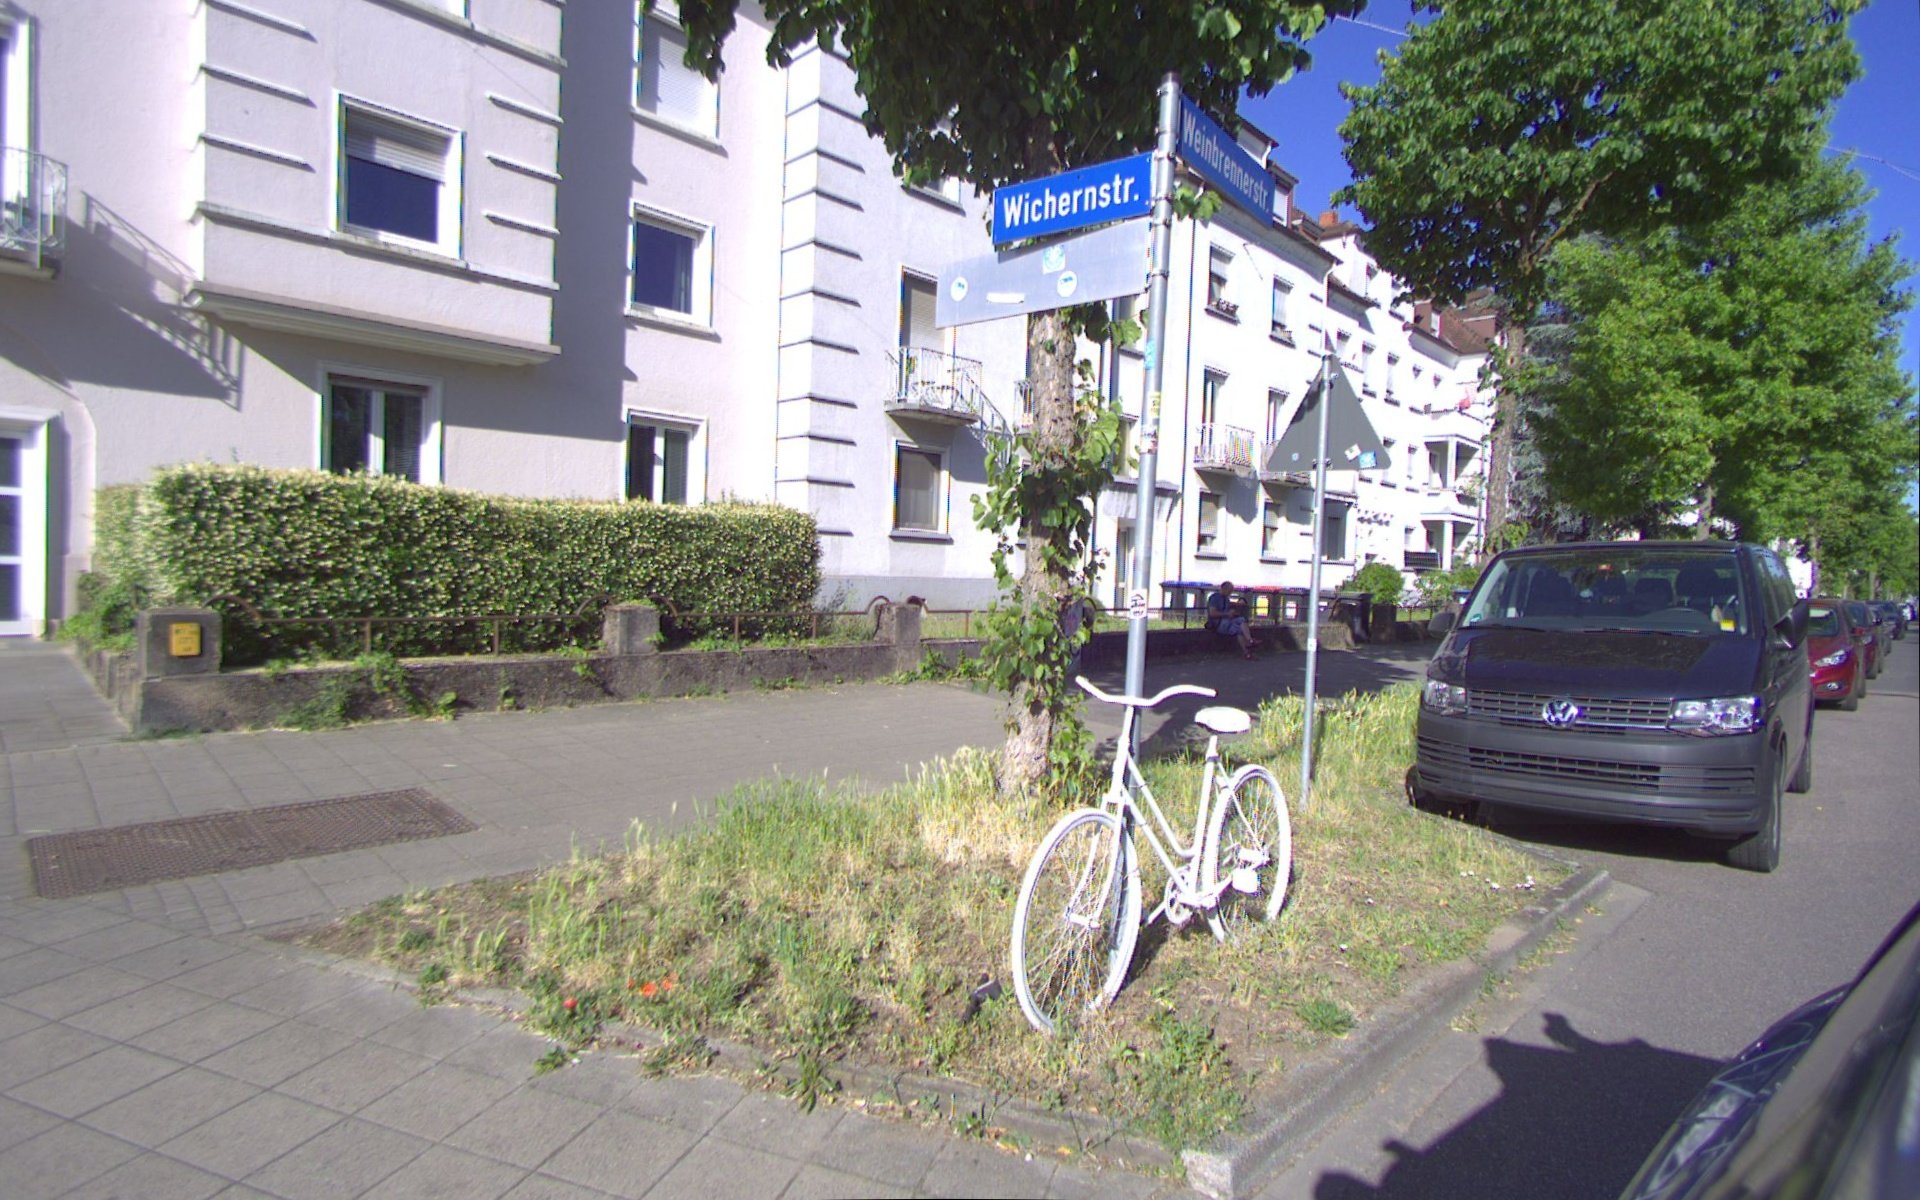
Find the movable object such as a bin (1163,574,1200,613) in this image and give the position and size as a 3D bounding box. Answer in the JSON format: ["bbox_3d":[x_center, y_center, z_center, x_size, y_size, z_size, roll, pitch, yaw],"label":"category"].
[{"bbox_3d":[5.386,-0.159,24.622,0.585,0.933,0.671,-1,1,-40],"label":"movable object such as a bin"}]

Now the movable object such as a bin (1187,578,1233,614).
[{"bbox_3d":[5.919,-0.098,23.985,0.730,0.832,0.777,-1,1,-41],"label":"movable object such as a bin"}]

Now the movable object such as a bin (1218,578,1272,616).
[{"bbox_3d":[6.606,-0.082,23.465,0.992,0.873,0.777,-1,1,-40],"label":"movable object such as a bin"}]

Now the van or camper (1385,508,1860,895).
[{"bbox_3d":[5.214,0.443,7.539,1.990,1.886,5.301,1,1,44],"label":"van or camper"}]

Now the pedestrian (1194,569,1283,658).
[{"bbox_3d":[4.297,0.183,15.637,1.082,1.311,0.806,1,1,44],"label":"pedestrian"}]

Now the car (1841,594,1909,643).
[{"bbox_3d":[30.658,0.563,33.928,1.604,1.482,3.812,1,1,42],"label":"car"}]

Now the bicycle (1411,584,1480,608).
[{"bbox_3d":[16.824,-0.133,35.094,0.616,0.779,2.061,-1,-1,-44],"label":"bicycle"}]

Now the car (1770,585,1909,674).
[{"bbox_3d":[19.361,0.550,22.217,1.932,1.586,4.520,6,5,44],"label":"car"}]

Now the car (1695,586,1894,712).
[{"bbox_3d":[13.320,0.629,16.033,4.891,1.633,1.900,-1,3,-45],"label":"car"}]

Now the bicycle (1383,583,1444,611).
[{"bbox_3d":[17.121,-0.133,38.221,0.549,0.929,2.035,-1,4,-40],"label":"bicycle"}]

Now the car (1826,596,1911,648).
[{"bbox_3d":[27.442,0.623,30.541,1.765,1.415,3.637,1,1,45],"label":"car"}]

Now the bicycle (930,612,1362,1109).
[{"bbox_3d":[0.770,0.683,3.532,0.527,1.208,2.000,2,2,41],"label":"bicycle"}]

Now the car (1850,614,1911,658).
[{"bbox_3d":[34.476,1.313,37.923,1.604,1.441,3.954,1,1,42],"label":"car"}]

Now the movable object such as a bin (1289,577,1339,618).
[{"bbox_3d":[7.774,-0.061,22.230,0.752,0.873,0.777,-1,1,-41],"label":"movable object such as a bin"}]

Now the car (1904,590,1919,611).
[{"bbox_3d":[78.410,0.082,82.563,1.888,1.654,3.826,4,3,44],"label":"car"}]

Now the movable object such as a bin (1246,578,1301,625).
[{"bbox_3d":[7.092,0.015,22.883,0.992,1.039,0.777,-1,1,-41],"label":"movable object such as a bin"}]

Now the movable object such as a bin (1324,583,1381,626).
[{"bbox_3d":[8.370,0.084,21.585,0.992,0.873,0.777,-1,1,-41],"label":"movable object such as a bin"}]

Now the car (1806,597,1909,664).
[{"bbox_3d":[23.378,0.726,26.306,1.712,1.424,4.418,5,4,45],"label":"car"}]

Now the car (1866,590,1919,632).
[{"bbox_3d":[39.525,0.423,42.819,1.763,1.657,3.954,1,1,42],"label":"car"}]

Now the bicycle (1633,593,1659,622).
[{"bbox_3d":[25.395,0.265,37.443,0.431,1.025,2.215,-4,-2,42],"label":"bicycle"}]
